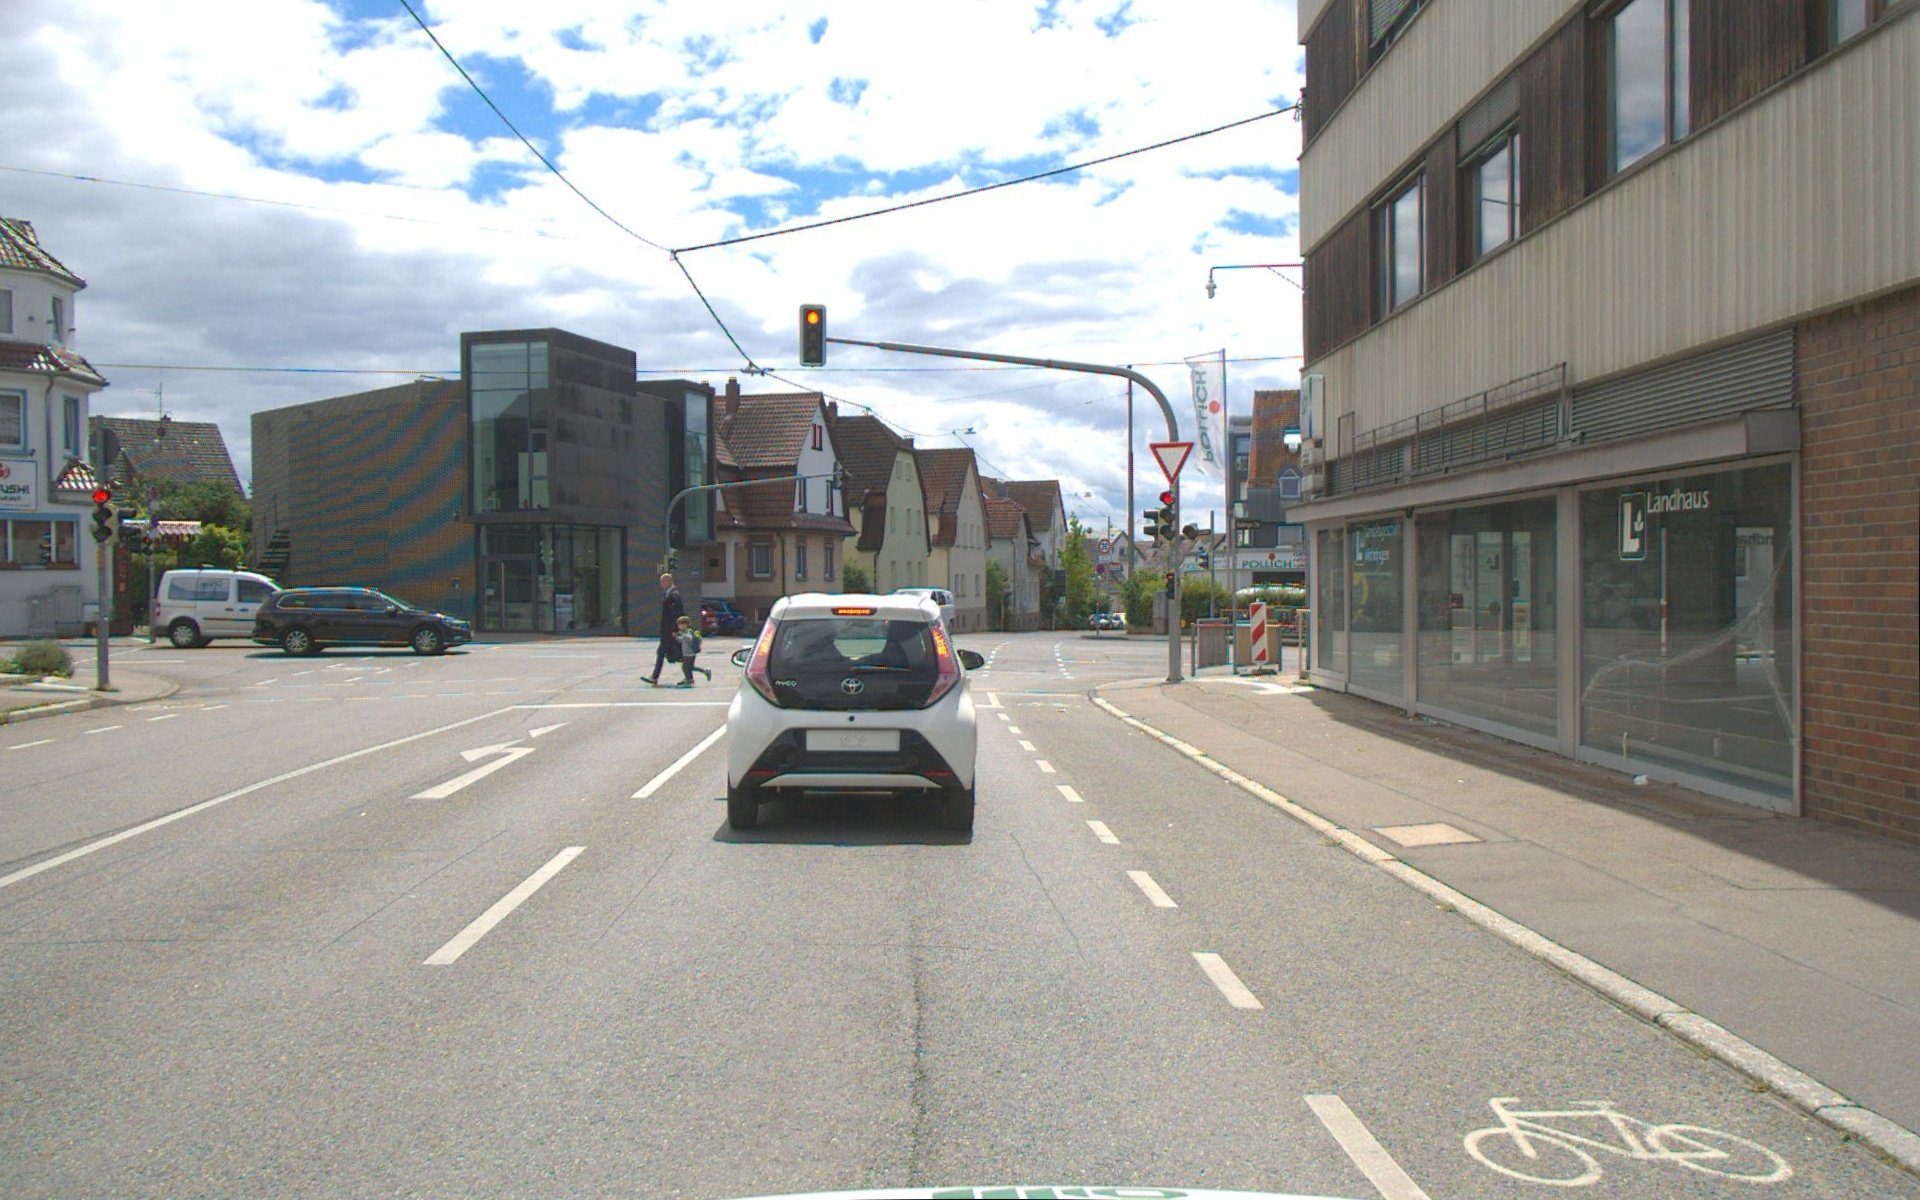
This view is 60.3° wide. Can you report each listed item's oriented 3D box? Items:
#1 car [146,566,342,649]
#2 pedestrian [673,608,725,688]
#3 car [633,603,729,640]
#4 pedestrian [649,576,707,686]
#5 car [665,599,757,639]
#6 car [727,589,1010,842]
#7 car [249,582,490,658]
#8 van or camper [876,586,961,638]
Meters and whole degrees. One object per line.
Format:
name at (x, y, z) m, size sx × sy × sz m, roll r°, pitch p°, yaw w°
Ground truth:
car at (-17.221, 0.187, 39.971) m, size 3.989 × 1.881 × 1.993 m, roll 1°, pitch 0°, yaw -13°
pedestrian at (-4.157, 0.747, 26.297) m, size 0.722 × 1.243 × 0.642 m, roll 0°, pitch 0°, yaw -19°
car at (-11.560, 0.882, 68.725) m, size 3.537 × 1.444 × 1.693 m, roll 1°, pitch 0°, yaw 10°
pedestrian at (-4.594, 0.486, 26.915) m, size 0.810 × 1.751 × 0.813 m, roll 0°, pitch 0°, yaw -20°
car at (-10.738, 0.809, 71.497) m, size 3.537 × 1.633 × 1.693 m, roll 1°, pitch 0°, yaw 10°
car at (-0.632, 0.695, 11.550) m, size 1.663 × 1.482 × 3.297 m, roll 1°, pitch 0°, yaw -3°
car at (-13.269, 0.443, 37.454) m, size 4.806 × 1.605 × 1.996 m, roll 1°, pitch 0°, yaw -9°
van or camper at (-1.589, 0.482, 66.021) m, size 2.070 × 1.959 × 5.289 m, roll 1°, pitch 0°, yaw 13°
